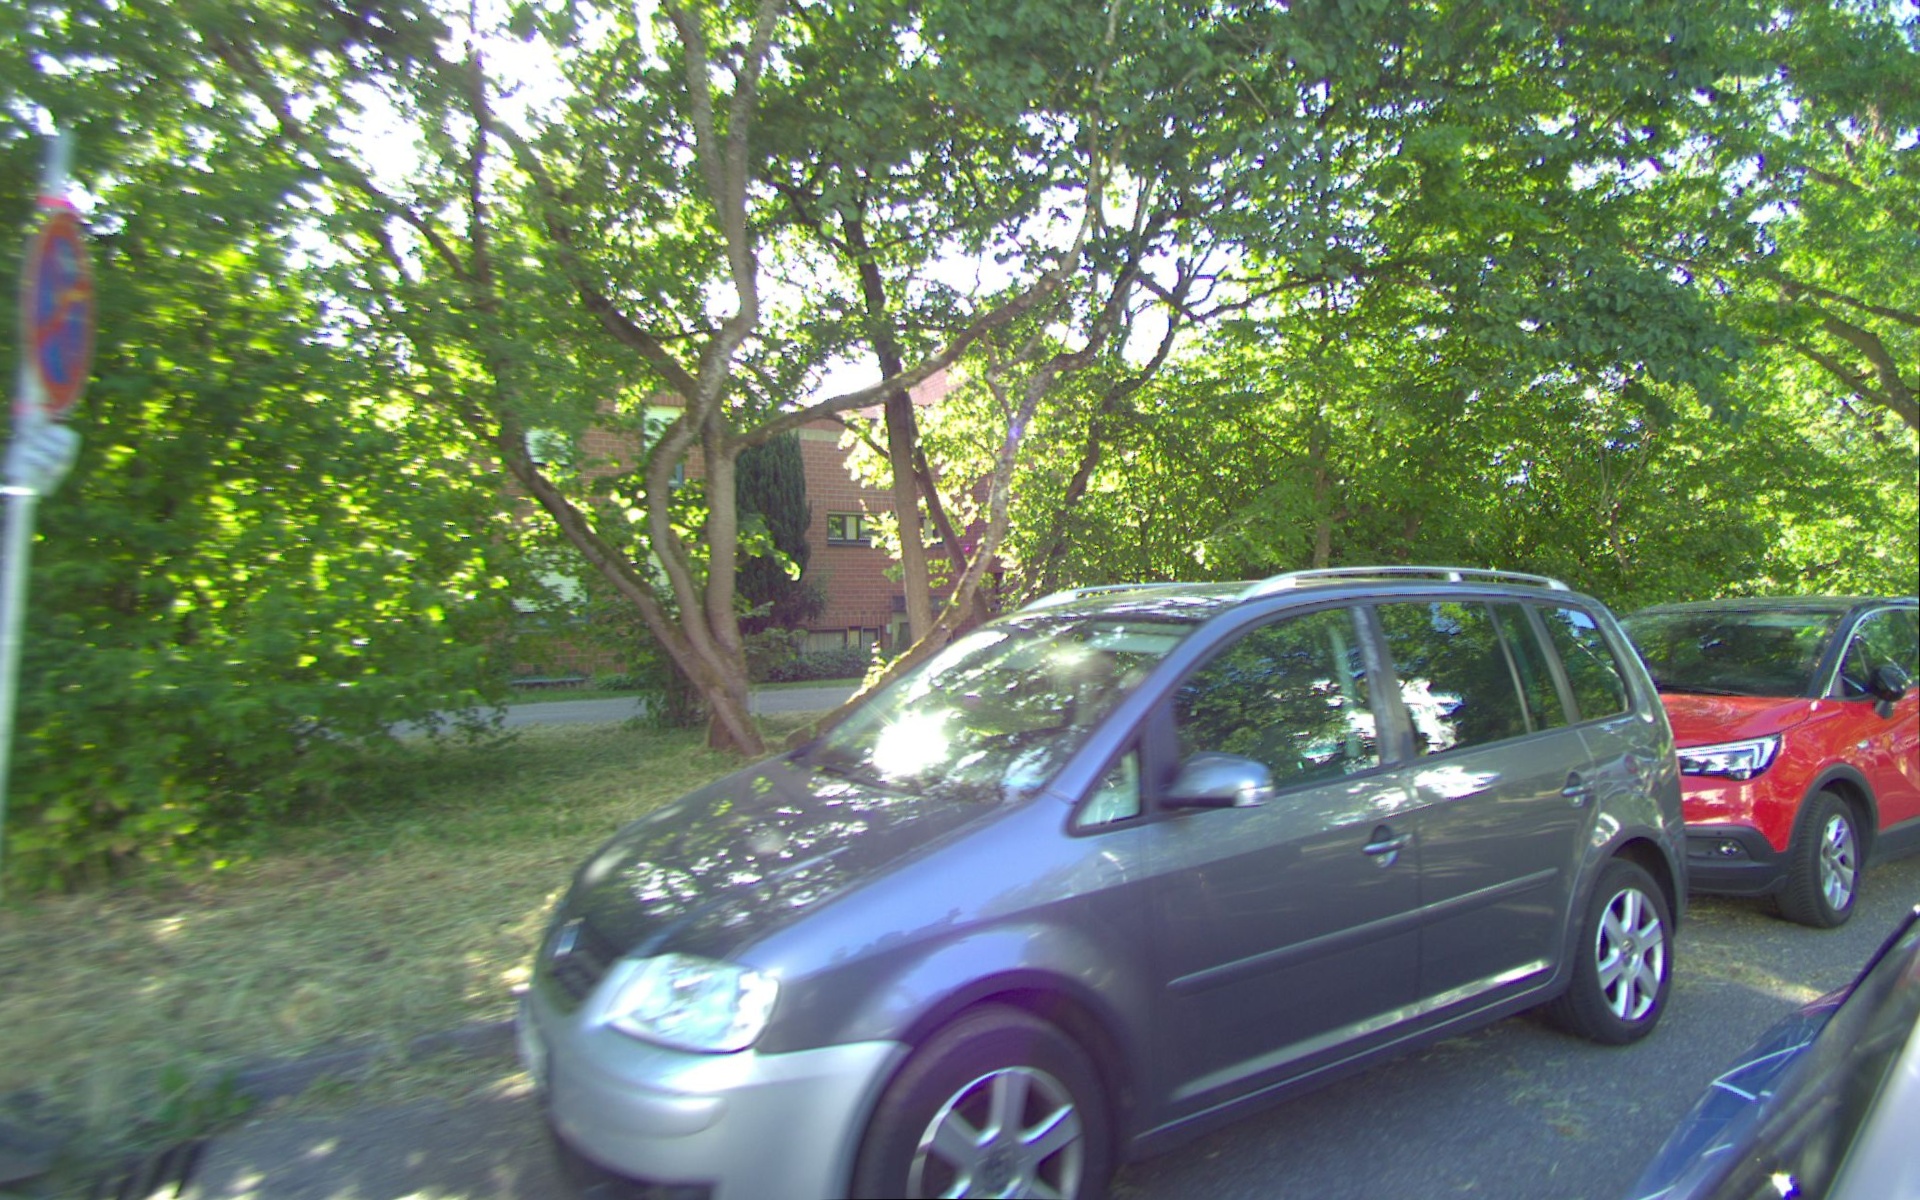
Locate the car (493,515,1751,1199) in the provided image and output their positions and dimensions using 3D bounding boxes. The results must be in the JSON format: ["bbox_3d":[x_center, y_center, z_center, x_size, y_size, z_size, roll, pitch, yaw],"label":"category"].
[{"bbox_3d":[0.707,0.689,3.450,4.054,1.642,1.685,0,-2,-30],"label":"car"}]

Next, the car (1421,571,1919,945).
[{"bbox_3d":[4.825,0.682,6.015,3.984,1.594,1.686,0,-2,-28],"label":"car"}]

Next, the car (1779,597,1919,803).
[{"bbox_3d":[8.835,0.731,8.536,4.068,1.529,1.718,0,-2,-32],"label":"car"}]
